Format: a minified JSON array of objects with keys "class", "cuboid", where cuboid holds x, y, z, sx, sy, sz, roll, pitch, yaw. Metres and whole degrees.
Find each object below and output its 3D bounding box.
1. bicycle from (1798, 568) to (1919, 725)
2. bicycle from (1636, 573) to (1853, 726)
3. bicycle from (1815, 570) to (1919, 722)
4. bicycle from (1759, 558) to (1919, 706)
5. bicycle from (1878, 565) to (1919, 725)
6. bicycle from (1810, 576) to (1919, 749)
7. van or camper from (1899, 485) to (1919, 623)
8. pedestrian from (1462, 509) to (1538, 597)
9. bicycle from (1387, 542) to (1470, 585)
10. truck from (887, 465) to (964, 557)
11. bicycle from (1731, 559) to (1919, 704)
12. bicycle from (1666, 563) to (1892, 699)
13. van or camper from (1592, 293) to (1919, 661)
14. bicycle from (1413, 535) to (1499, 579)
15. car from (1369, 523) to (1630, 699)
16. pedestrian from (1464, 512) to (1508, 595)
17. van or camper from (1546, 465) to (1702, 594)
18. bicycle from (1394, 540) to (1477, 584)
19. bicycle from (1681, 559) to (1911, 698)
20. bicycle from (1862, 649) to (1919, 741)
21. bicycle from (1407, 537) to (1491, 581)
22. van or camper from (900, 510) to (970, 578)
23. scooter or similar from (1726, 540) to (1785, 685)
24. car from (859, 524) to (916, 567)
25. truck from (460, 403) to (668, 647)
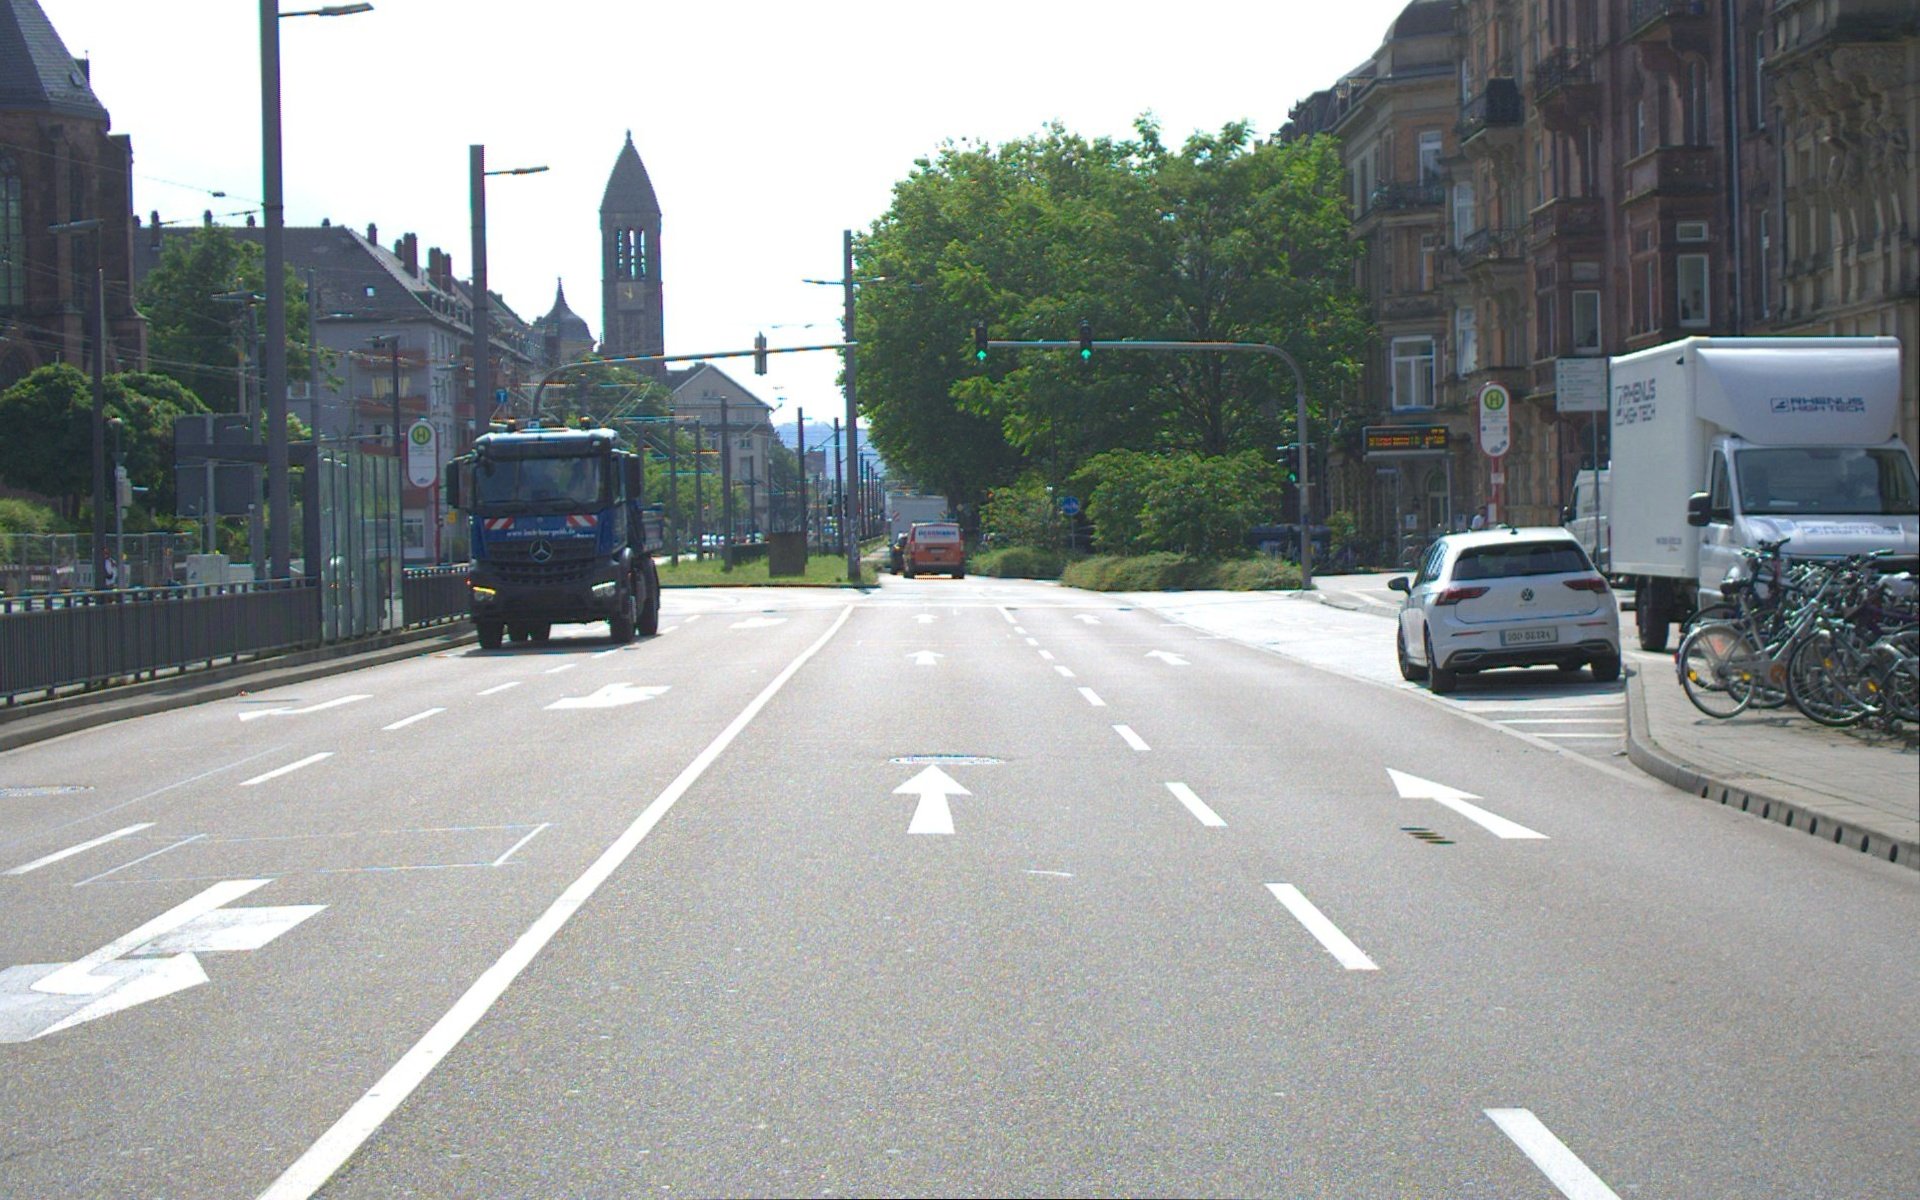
[{"class":"bicycle","cuboid":[6.789,0.324,24.044,1.758,1.081,0.372,0,2,2]},{"class":"bicycle","cuboid":[5.754,0.355,25.205,1.596,1.081,0.372,-1,2,-19]},{"class":"bicycle","cuboid":[7.171,0.326,25.172,1.758,1.081,0.372,0,2,-10]},{"class":"bicycle","cuboid":[6.935,0.233,25.964,1.758,1.081,0.372,0,2,-12]},{"class":"bicycle","cuboid":[7.232,0.305,23.582,1.758,1.081,0.372,0,2,2]},{"class":"bicycle","cuboid":[6.104,0.396,22.997,0.371,1.067,1.764,0,2,-1]},{"class":"van or camper","cuboid":[14.214,-0.666,45.463,1.993,1.898,5.298,-3,1,-1]},{"class":"pedestrian","cuboid":[8.127,-0.707,51.712,0.742,1.311,0.821,1,0,-39]},{"class":"bicycle","cuboid":[13.173,-1.023,96.632,2.189,1.177,0.684,-1,1,-5]},{"class":"truck","cuboid":[-1.443,-3.744,146.910,3.170,3.275,7.295,0,-4,0]},{"class":"bicycle","cuboid":[6.824,0.238,26.412,1.758,1.081,0.372,0,2,-12]},{"class":"bicycle","cuboid":[6.645,0.248,27.913,1.758,1.081,0.372,0,2,-6]},{"class":"van or camper","cuboid":[8.514,-1.168,35.185,2.712,3.319,7.639,-1,0,1]},{"class":"bicycle","cuboid":[13.529,-1.167,93.776,2.189,1.177,0.684,-1,1,-5]},{"class":"car","cuboid":[5.085,0.093,32.946,1.791,1.432,4.343,-5,0,1]},{"class":"pedestrian","cuboid":[12.914,-1.140,84.472,0.886,2.007,0.996,1,0,0]},{"class":"van or camper","cuboid":[13.362,-1.437,69.509,1.993,2.465,5.565,-1,1,0]},{"class":"bicycle","cuboid":[13.261,-1.060,95.895,2.189,1.177,0.684,-1,1,-5]},{"class":"bicycle","cuboid":[6.675,0.224,27.465,1.758,1.081,0.372,0,2,-6]},{"class":"bicycle","cuboid":[6.843,0.621,22.477,0.636,0.584,1.770,-2,1,-40]},{"class":"bicycle","cuboid":[13.449,-1.128,94.541,2.189,1.177,0.684,-1,1,-5]},{"class":"van or camper","cuboid":[-0.860,-1.847,114.825,2.008,1.908,4.523,1,-3,-4]},{"class":"scooter or similar","cuboid":[6.803,0.097,29.412,0.369,1.209,1.251,1,1,8]},{"class":"car","cuboid":[-2.702,-2.027,126.782,1.993,1.503,4.001,-1,1,-2]},{"class":"truck","cuboid":[-6.300,-1.224,55.655,2.463,3.636,7.450,-1,1,0]}]
